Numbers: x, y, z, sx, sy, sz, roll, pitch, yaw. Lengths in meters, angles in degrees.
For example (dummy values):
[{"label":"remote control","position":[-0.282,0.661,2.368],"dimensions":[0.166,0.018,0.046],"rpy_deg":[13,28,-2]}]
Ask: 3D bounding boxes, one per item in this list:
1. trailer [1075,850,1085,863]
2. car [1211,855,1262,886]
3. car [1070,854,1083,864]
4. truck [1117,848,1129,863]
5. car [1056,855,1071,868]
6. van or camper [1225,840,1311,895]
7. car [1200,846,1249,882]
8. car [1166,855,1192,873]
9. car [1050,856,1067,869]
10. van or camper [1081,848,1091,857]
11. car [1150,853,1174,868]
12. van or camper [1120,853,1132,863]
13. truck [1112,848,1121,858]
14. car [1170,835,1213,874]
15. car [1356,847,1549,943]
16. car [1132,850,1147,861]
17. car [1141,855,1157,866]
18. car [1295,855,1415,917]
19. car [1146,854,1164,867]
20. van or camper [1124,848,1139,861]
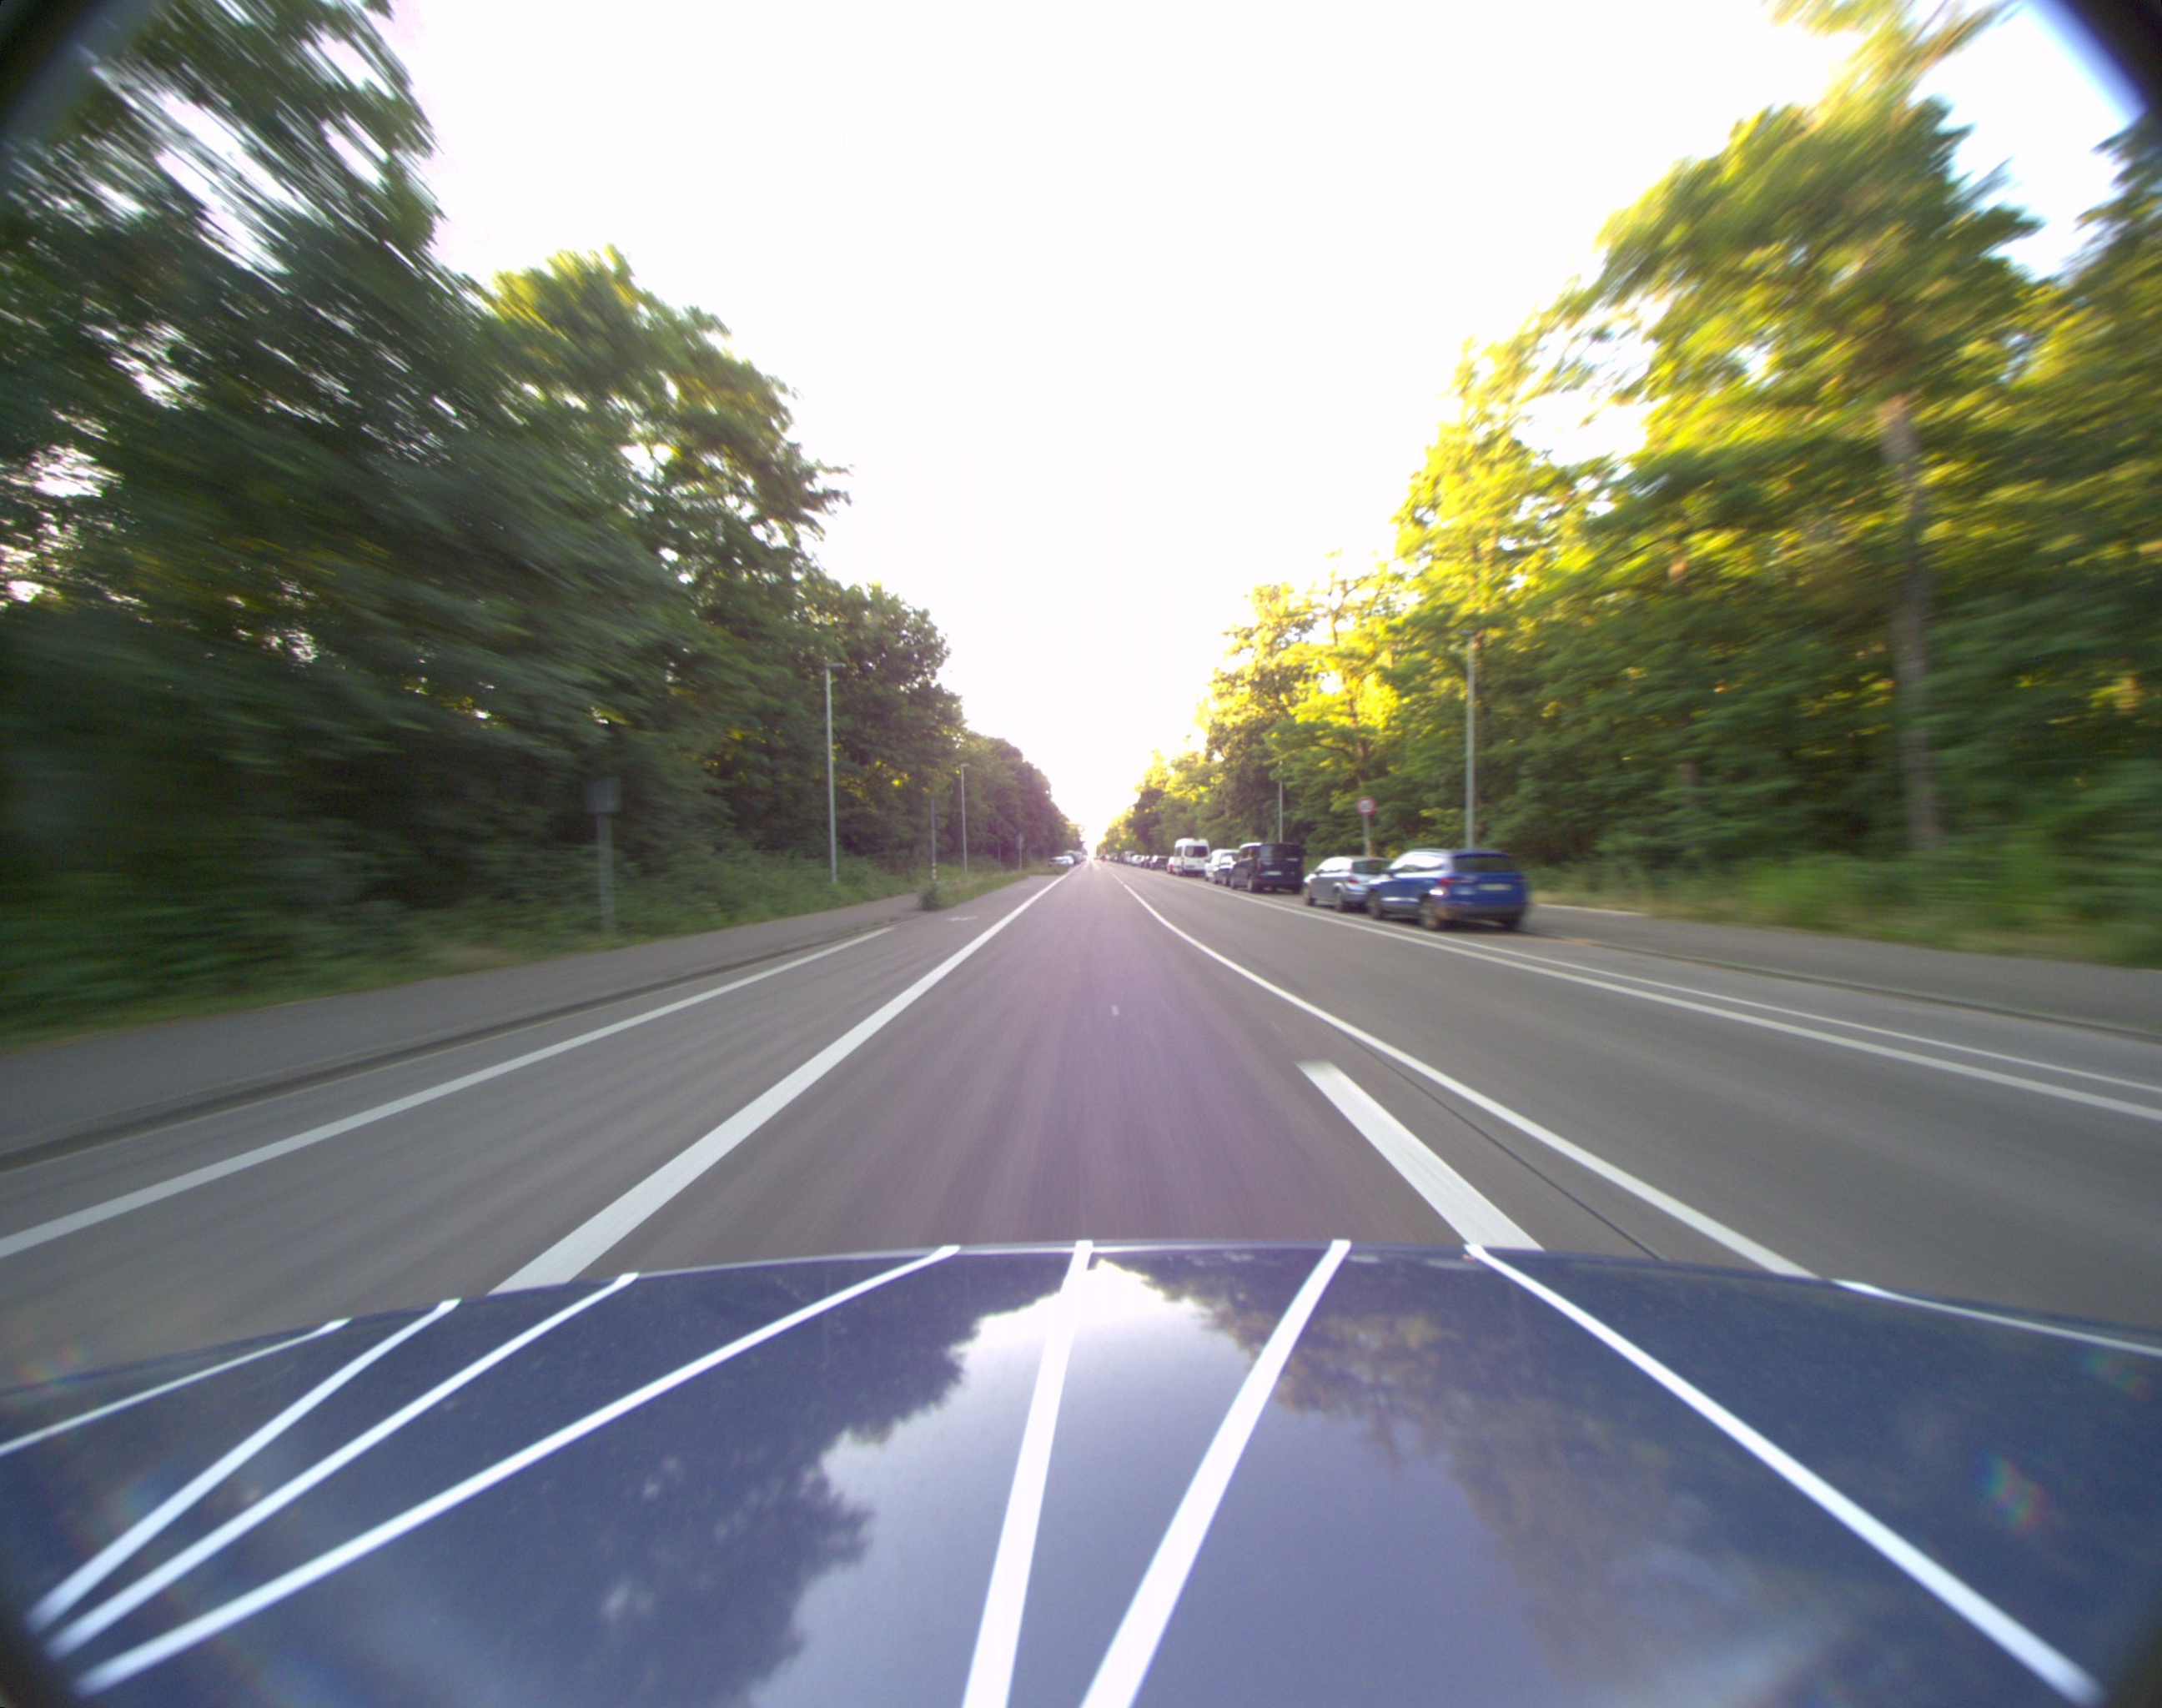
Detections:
[{"label":"trailer","position":[-0.157,0.434,158.054],"dimensions":[1.866,2.633,4.270],"rpy_deg":[-2,0,1]},{"label":"car","position":[7.611,0.765,37.554],"dimensions":[1.674,1.424,4.447],"rpy_deg":[1,0,1]},{"label":"car","position":[-0.766,0.763,118.659],"dimensions":[1.848,1.485,4.759],"rpy_deg":[-2,-1,-1]},{"label":"truck","position":[9.423,0.285,172.515],"dimensions":[2.226,3.188,6.271],"rpy_deg":[2,0,0]},{"label":"car","position":[-2.139,0.954,95.147],"dimensions":[1.693,1.537,4.112],"rpy_deg":[-1,0,1]},{"label":"van or camper","position":[7.492,0.492,31.083],"dimensions":[2.008,2.006,5.460],"rpy_deg":[1,0,-1]},{"label":"car","position":[8.022,0.521,42.829],"dimensions":[1.692,1.847,4.386],"rpy_deg":[-3,0,-2]},{"label":"car","position":[7.848,0.788,61.023],"dimensions":[1.720,1.422,4.388],"rpy_deg":[0,0,2]},{"label":"car","position":[-2.483,0.926,84.720],"dimensions":[1.715,1.436,4.122],"rpy_deg":[-2,0,1]},{"label":"van or camper","position":[1.547,-0.488,245.239],"dimensions":[3.015,2.703,6.960],"rpy_deg":[-1,0,1]},{"label":"car","position":[8.317,0.691,78.380],"dimensions":[1.850,1.454,4.229],"rpy_deg":[1,0,-2]},{"label":"van or camper","position":[9.384,0.919,159.117],"dimensions":[2.034,1.945,4.692],"rpy_deg":[2,0,-2]},{"label":"truck","position":[11.473,-0.204,243.667],"dimensions":[2.654,3.038,5.801],"rpy_deg":[-2,0,1]},{"label":"car","position":[7.917,0.007,55.018],"dimensions":[2.084,2.591,7.089],"rpy_deg":[2,0,1]},{"label":"car","position":[7.464,0.726,15.848],"dimensions":[1.749,1.702,4.522],"rpy_deg":[1,0,-1]},{"label":"car","position":[8.621,0.262,112.015],"dimensions":[1.699,1.636,4.572],"rpy_deg":[1,0,-1]},{"label":"car","position":[8.427,0.799,94.700],"dimensions":[1.601,1.386,4.052],"rpy_deg":[0,0,0]},{"label":"car","position":[7.360,0.796,20.874],"dimensions":[1.673,1.492,4.245],"rpy_deg":[1,0,-1]},{"label":"car","position":[8.636,0.768,88.684],"dimensions":[1.716,1.500,3.657],"rpy_deg":[1,0,0]},{"label":"van or camper","position":[9.281,0.081,139.656],"dimensions":[2.116,2.376,6.381],"rpy_deg":[2,0,0]}]
